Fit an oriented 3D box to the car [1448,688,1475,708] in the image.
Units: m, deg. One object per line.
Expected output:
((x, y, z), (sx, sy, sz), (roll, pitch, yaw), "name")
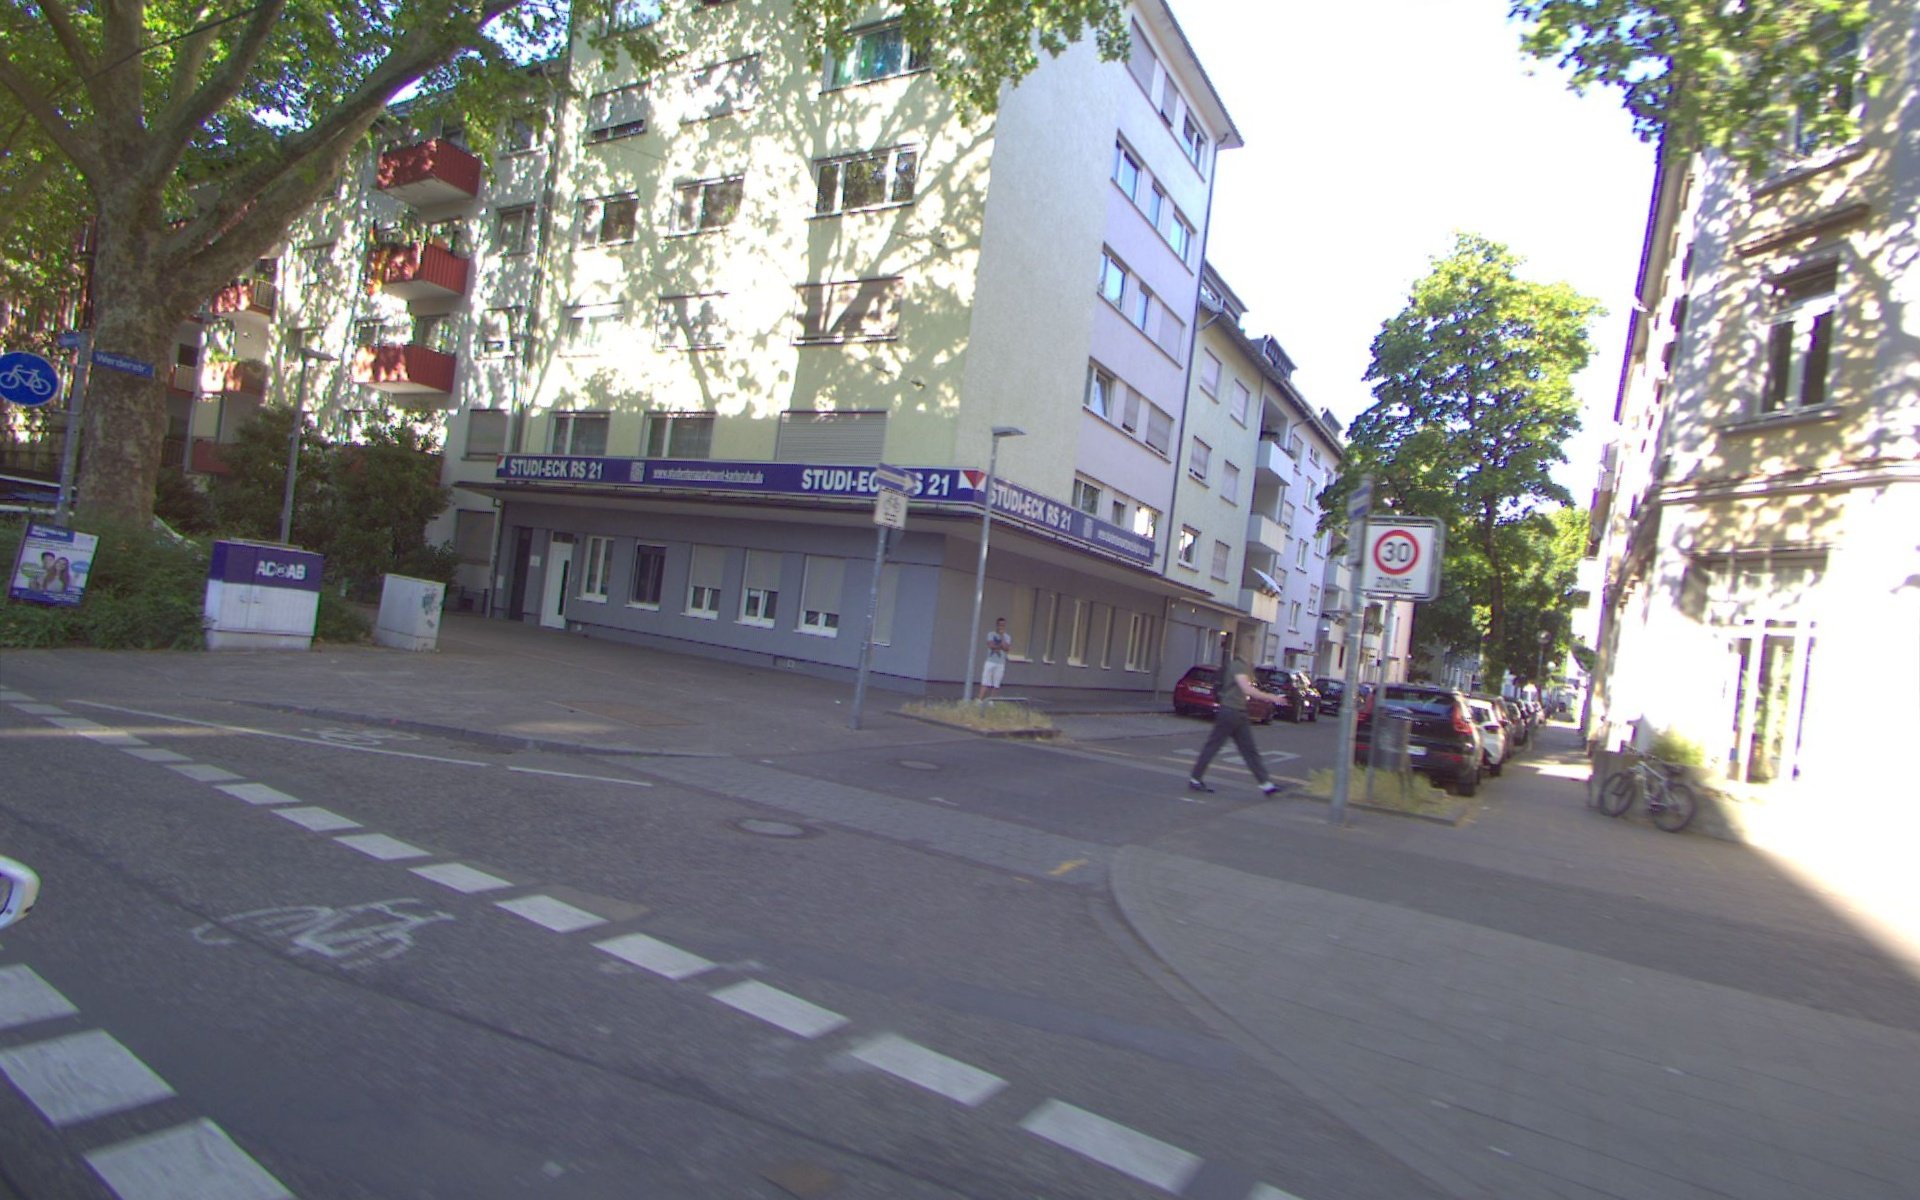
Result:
((48.982, 9.569, 98.189), (1.965, 1.625, 4.141), (9, -1, 29), "car")

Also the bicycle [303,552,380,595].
((-17.875, -0.752, 29.117), (0.607, 1.055, 1.794), (7, 0, 28), "bicycle")

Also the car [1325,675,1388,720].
((17.986, 4.416, 45.536), (1.965, 1.625, 4.141), (9, -1, 29), "car")

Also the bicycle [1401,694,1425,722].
((21.331, 5.067, 47.363), (0.733, 1.171, 1.793), (7, 0, 30), "bicycle")

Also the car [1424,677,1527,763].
((13.139, 3.007, 25.611), (1.965, 1.655, 4.141), (9, -1, 29), "car")

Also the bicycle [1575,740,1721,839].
((9.358, 2.554, 13.777), (0.559, 1.018, 1.836), (7, -2, -3), "bicycle")

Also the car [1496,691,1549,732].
((30.389, 6.025, 54.330), (1.968, 1.811, 4.137), (9, -1, 34), "car")

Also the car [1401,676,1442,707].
((30.673, 6.085, 66.822), (1.965, 1.625, 4.141), (9, -1, 29), "car")

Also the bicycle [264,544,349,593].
((-18.398, -0.872, 28.371), (0.562, 1.171, 1.949), (6, 0, 24), "bicycle")

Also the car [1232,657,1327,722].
((10.405, 2.911, 32.556), (1.965, 1.625, 4.141), (9, -1, 29), "car")

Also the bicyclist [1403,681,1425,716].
((21.388, 4.631, 47.366), (0.733, 1.521, 0.785), (7, 1, 31), "bicyclist")

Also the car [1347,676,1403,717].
((20.765, 4.827, 50.285), (1.965, 1.625, 4.141), (9, -1, 29), "car")

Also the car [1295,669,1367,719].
((15.130, 3.826, 40.878), (1.965, 1.625, 4.141), (9, -1, 29), "car")

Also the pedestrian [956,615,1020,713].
((0.509, 1.152, 18.052), (0.655, 1.664, 0.747), (7, -1, 33), "pedestrian")

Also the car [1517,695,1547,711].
((94.112, 16.954, 165.538), (4.075, 1.811, 1.997), (9, 0, 32), "car")

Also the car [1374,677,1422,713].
((24.955, 5.439, 57.297), (1.965, 1.625, 4.141), (9, -1, 29), "car")

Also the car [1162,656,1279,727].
((7.144, 2.487, 27.276), (1.965, 1.439, 4.141), (9, -1, 29), "car")

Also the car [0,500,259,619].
((-14.231, -0.693, 16.252), (1.800, 1.496, 4.306), (7, -2, 30), "car")

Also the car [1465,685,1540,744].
((20.795, 4.385, 38.473), (1.968, 1.811, 4.137), (9, -1, 34), "car")

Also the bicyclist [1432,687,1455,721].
((21.919, 4.724, 45.630), (0.733, 1.419, 0.659), (7, 1, 32), "bicyclist")

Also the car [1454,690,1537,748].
((18.394, 4.083, 34.473), (1.968, 1.521, 4.137), (9, -1, 34), "car")

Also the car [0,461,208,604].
((-16.336, -1.261, 17.582), (1.966, 2.101, 4.554), (7, -1, 29), "car")

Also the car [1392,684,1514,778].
((10.268, 2.641, 20.835), (1.966, 1.521, 4.141), (5, -3, 29), "car")

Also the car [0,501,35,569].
((-23.681, -1.758, 22.450), (1.892, 1.496, 4.043), (7, -2, 32), "car")

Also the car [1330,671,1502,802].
((7.613, 2.168, 16.549), (1.967, 1.611, 4.139), (7, -2, 31), "car")

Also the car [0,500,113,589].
((-18.709, -1.221, 18.853), (1.694, 1.496, 3.906), (7, -1, 29), "car")

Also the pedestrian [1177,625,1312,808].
((3.313, 1.322, 11.698), (1.168, 1.889, 0.768), (7, 0, 28), "pedestrian")

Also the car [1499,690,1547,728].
((33.194, 6.462, 59.278), (1.968, 1.811, 4.137), (9, -1, 34), "car")
